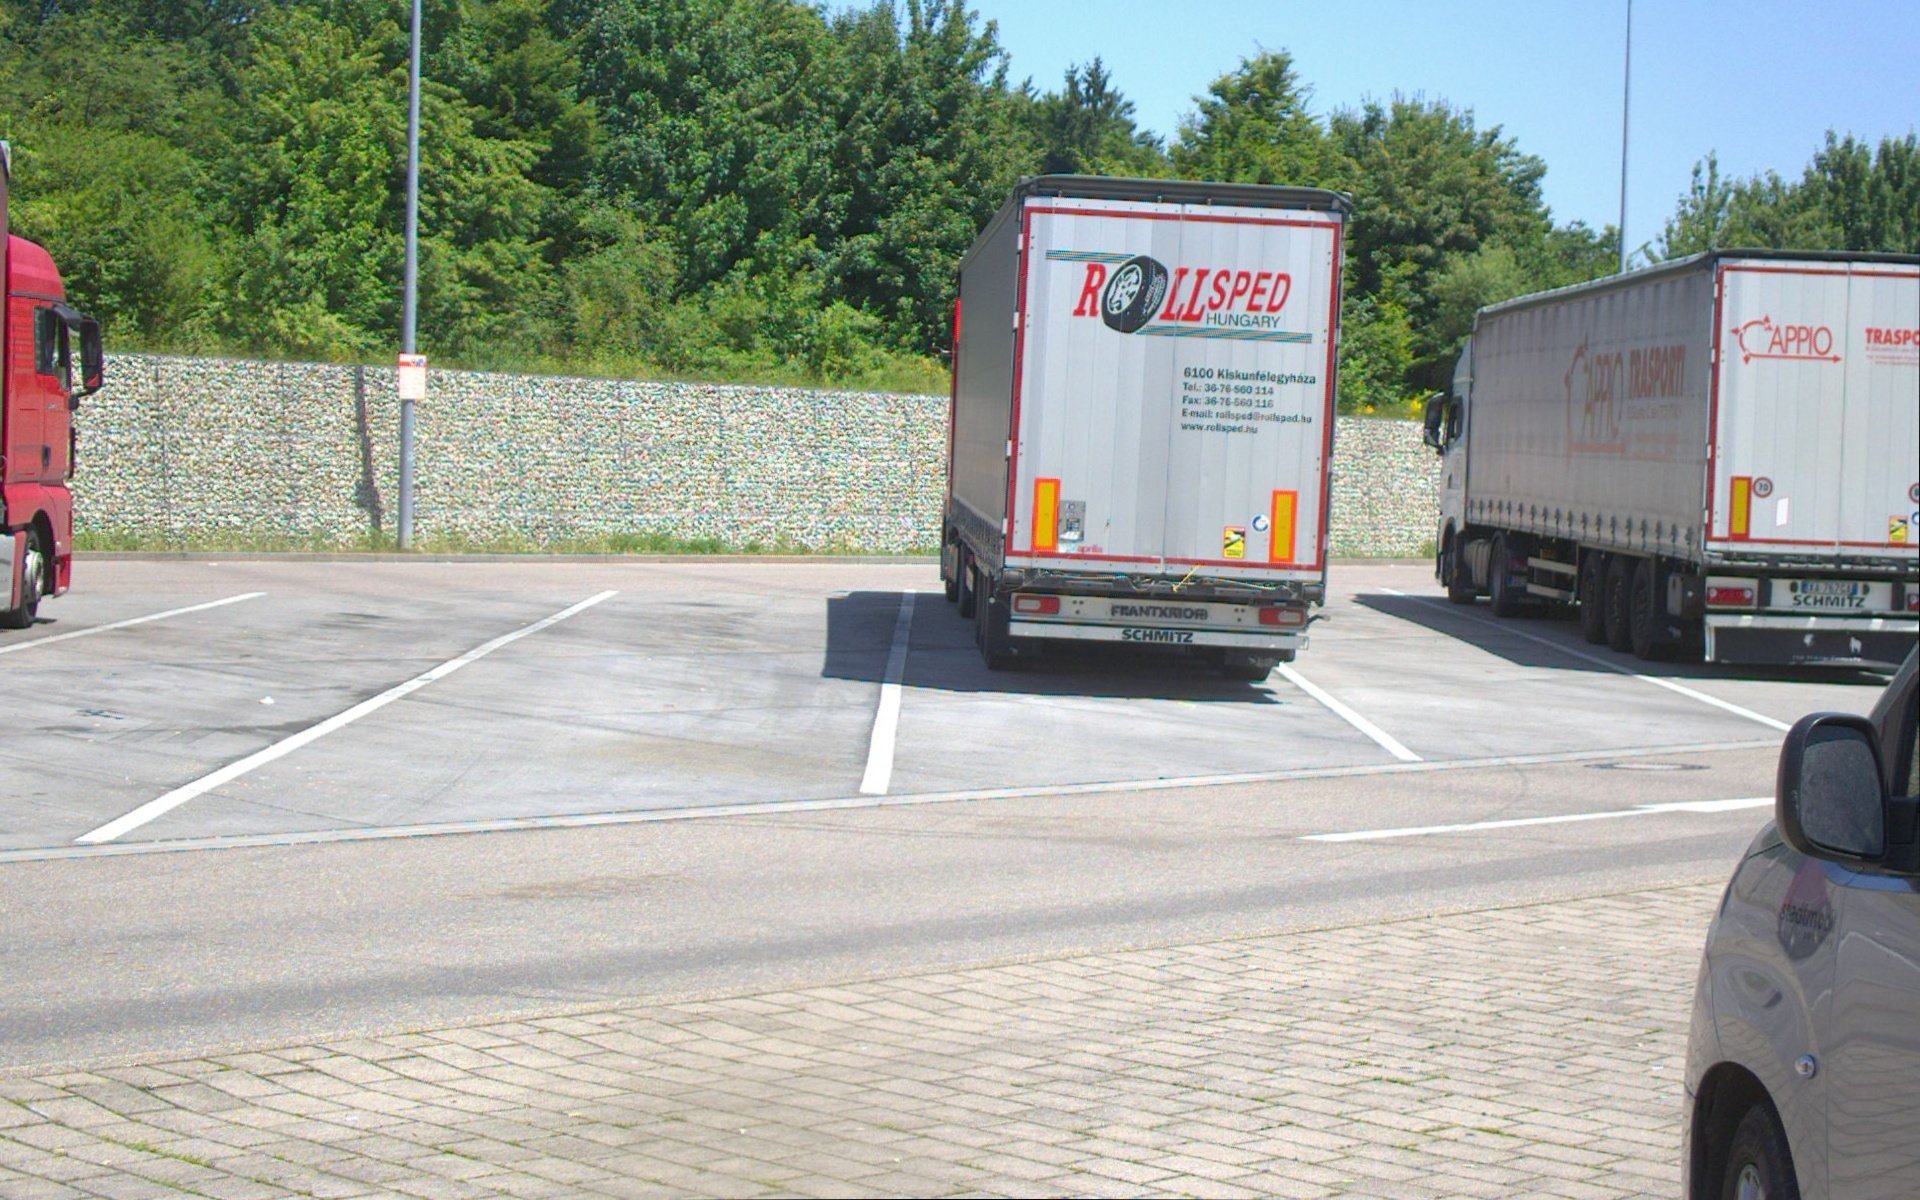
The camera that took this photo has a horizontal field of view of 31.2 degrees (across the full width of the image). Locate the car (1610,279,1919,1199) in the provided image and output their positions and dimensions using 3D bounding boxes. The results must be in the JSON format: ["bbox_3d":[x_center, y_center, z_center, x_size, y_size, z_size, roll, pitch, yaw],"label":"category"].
[{"bbox_3d":[2.153,0.579,3.843,1.869,1.857,4.177,2,2,-2],"label":"car"}]

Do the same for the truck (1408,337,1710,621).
[{"bbox_3d":[8.024,-1.701,46.825,2.862,3.509,5.900,2,3,-1],"label":"truck"}]

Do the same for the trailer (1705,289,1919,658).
[{"bbox_3d":[11.758,-1.459,39.776,2.811,3.976,14.396,2,3,-1],"label":"trailer"}]

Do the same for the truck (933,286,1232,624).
[{"bbox_3d":[1.314,-1.737,40.504,3.103,3.554,5.900,2,3,-1],"label":"truck"}]

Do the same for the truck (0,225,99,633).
[{"bbox_3d":[-9.235,-1.446,28.136,2.851,3.316,5.900,2,3,-1],"label":"truck"}]

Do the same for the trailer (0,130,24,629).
[{"bbox_3d":[-9.191,-1.491,21.562,2.791,4.071,14.133,2,3,-1],"label":"trailer"}]

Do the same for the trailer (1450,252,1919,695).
[{"bbox_3d":[8.117,-1.526,38.725,2.811,3.976,14.396,2,3,-1],"label":"trailer"}]

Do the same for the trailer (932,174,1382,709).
[{"bbox_3d":[1.451,-1.596,33.612,3.133,3.976,14.397,2,3,-1],"label":"trailer"}]
